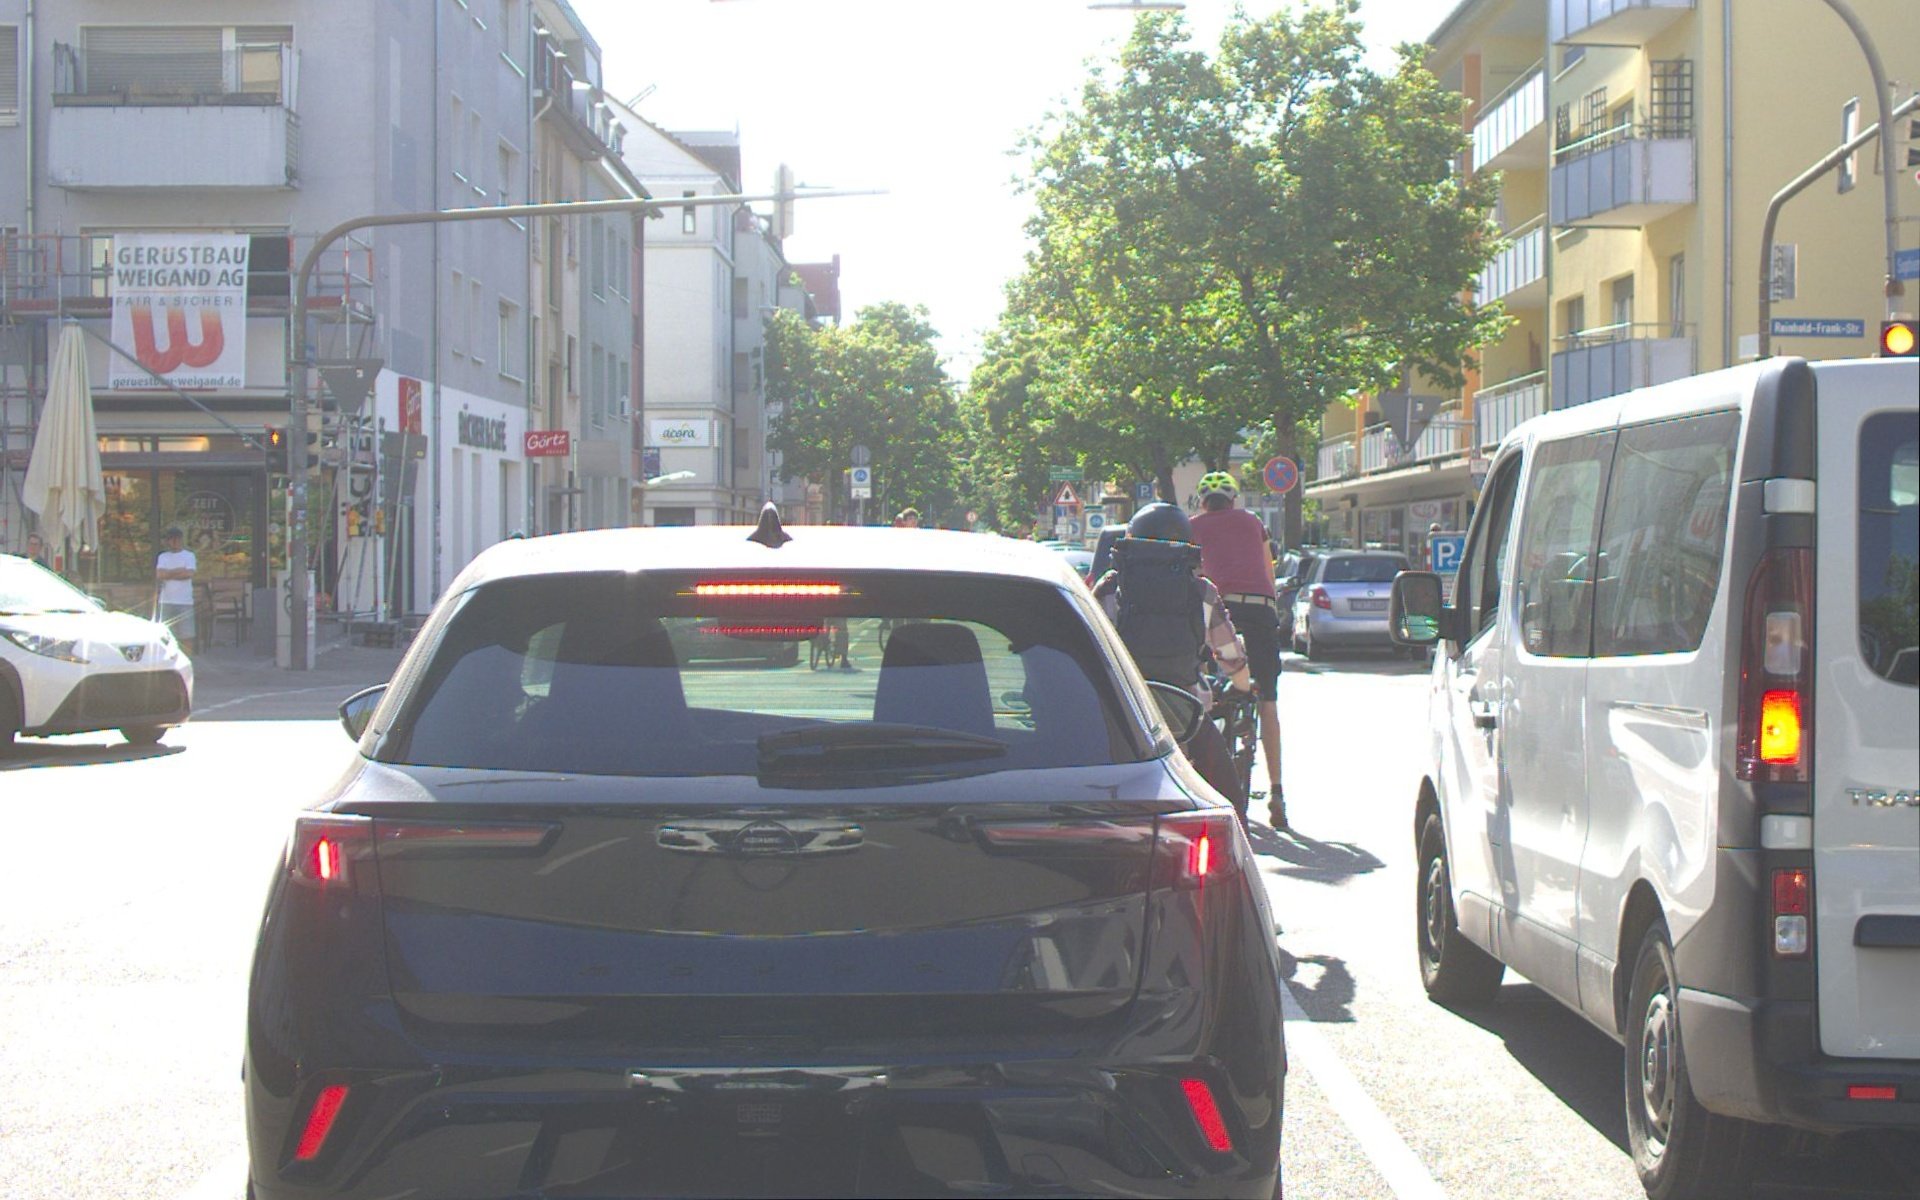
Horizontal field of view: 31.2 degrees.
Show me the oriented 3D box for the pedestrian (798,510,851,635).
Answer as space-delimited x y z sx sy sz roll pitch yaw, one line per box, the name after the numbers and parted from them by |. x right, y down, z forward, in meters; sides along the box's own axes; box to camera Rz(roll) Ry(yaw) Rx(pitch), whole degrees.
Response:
-1.750 -0.361 44.515 0.680 1.600 0.762 0 1 -2 | pedestrian

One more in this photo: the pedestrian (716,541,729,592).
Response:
-7.866 -1.113 113.995 0.402 1.669 0.418 0 1 0 | pedestrian

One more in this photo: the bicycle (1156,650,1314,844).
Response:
1.442 0.754 18.358 0.577 0.901 2.301 0 1 -2 | bicycle

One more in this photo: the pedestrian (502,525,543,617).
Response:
-7.288 -0.485 57.311 0.617 1.516 0.725 0 1 -3 | pedestrian

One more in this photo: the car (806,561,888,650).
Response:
-2.652 0.109 81.394 1.849 2.007 4.000 0 1 -1 | car

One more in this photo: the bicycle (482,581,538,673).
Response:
-5.862 0.337 44.855 0.521 1.143 2.284 0 1 -2 | bicycle

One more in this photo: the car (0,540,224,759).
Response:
-7.686 0.323 26.358 3.780 1.531 1.768 1 2 30 | car

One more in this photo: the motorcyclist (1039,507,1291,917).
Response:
0.763 0.401 13.143 0.864 1.497 1.160 0 1 -1 | motorcyclist

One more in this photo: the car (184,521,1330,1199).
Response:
-0.383 0.605 7.331 1.770 1.525 4.001 0 1 -2 | car

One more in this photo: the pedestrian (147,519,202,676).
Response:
-8.924 -0.038 39.064 0.561 1.769 0.584 0 1 -8 | pedestrian

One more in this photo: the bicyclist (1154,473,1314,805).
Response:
1.452 0.189 18.409 0.689 1.707 1.414 0 1 -2 | bicyclist

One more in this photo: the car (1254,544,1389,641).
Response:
5.517 -0.147 52.873 1.634 1.428 4.000 0 1 0 | car

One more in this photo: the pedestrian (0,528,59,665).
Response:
-10.447 -0.044 38.470 0.584 1.516 0.650 0 1 -3 | pedestrian

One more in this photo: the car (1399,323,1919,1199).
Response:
2.508 0.410 9.327 1.993 1.972 4.895 1 1 0 | car

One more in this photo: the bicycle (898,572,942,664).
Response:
-0.530 0.217 44.676 0.521 1.143 2.170 0 1 -2 | bicycle

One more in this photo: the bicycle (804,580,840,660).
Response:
-1.787 0.249 44.627 0.443 0.989 2.069 0 1 -2 | bicycle

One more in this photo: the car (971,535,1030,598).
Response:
1.316 -1.115 112.697 1.855 2.007 3.881 0 1 0 | car

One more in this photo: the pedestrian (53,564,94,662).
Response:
-9.927 0.145 38.518 0.355 1.088 0.462 0 1 -3 | pedestrian

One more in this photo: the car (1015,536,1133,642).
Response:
1.895 -0.218 58.372 1.902 1.722 4.000 0 1 1 | car

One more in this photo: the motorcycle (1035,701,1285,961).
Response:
0.736 0.854 13.256 0.825 0.842 1.885 0 1 -1 | motorcycle

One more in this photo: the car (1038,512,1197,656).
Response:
1.947 -0.229 43.172 1.902 1.722 4.073 0 1 2 | car

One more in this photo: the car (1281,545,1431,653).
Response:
5.499 -0.047 48.111 1.634 1.428 3.957 0 1 0 | car

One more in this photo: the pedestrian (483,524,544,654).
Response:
-5.798 -0.150 44.648 0.707 1.672 0.802 0 1 -2 | pedestrian

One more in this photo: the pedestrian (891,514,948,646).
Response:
-0.528 -0.269 44.579 0.707 1.695 0.802 0 1 -2 | pedestrian

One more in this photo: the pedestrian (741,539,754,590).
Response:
-7.032 -1.172 113.640 0.402 1.669 0.418 0 1 0 | pedestrian

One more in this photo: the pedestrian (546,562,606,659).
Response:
-4.979 0.131 44.592 0.707 1.249 0.802 0 1 -2 | pedestrian

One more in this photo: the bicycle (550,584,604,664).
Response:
-4.988 0.299 44.877 0.521 0.989 2.339 0 1 -2 | bicycle
